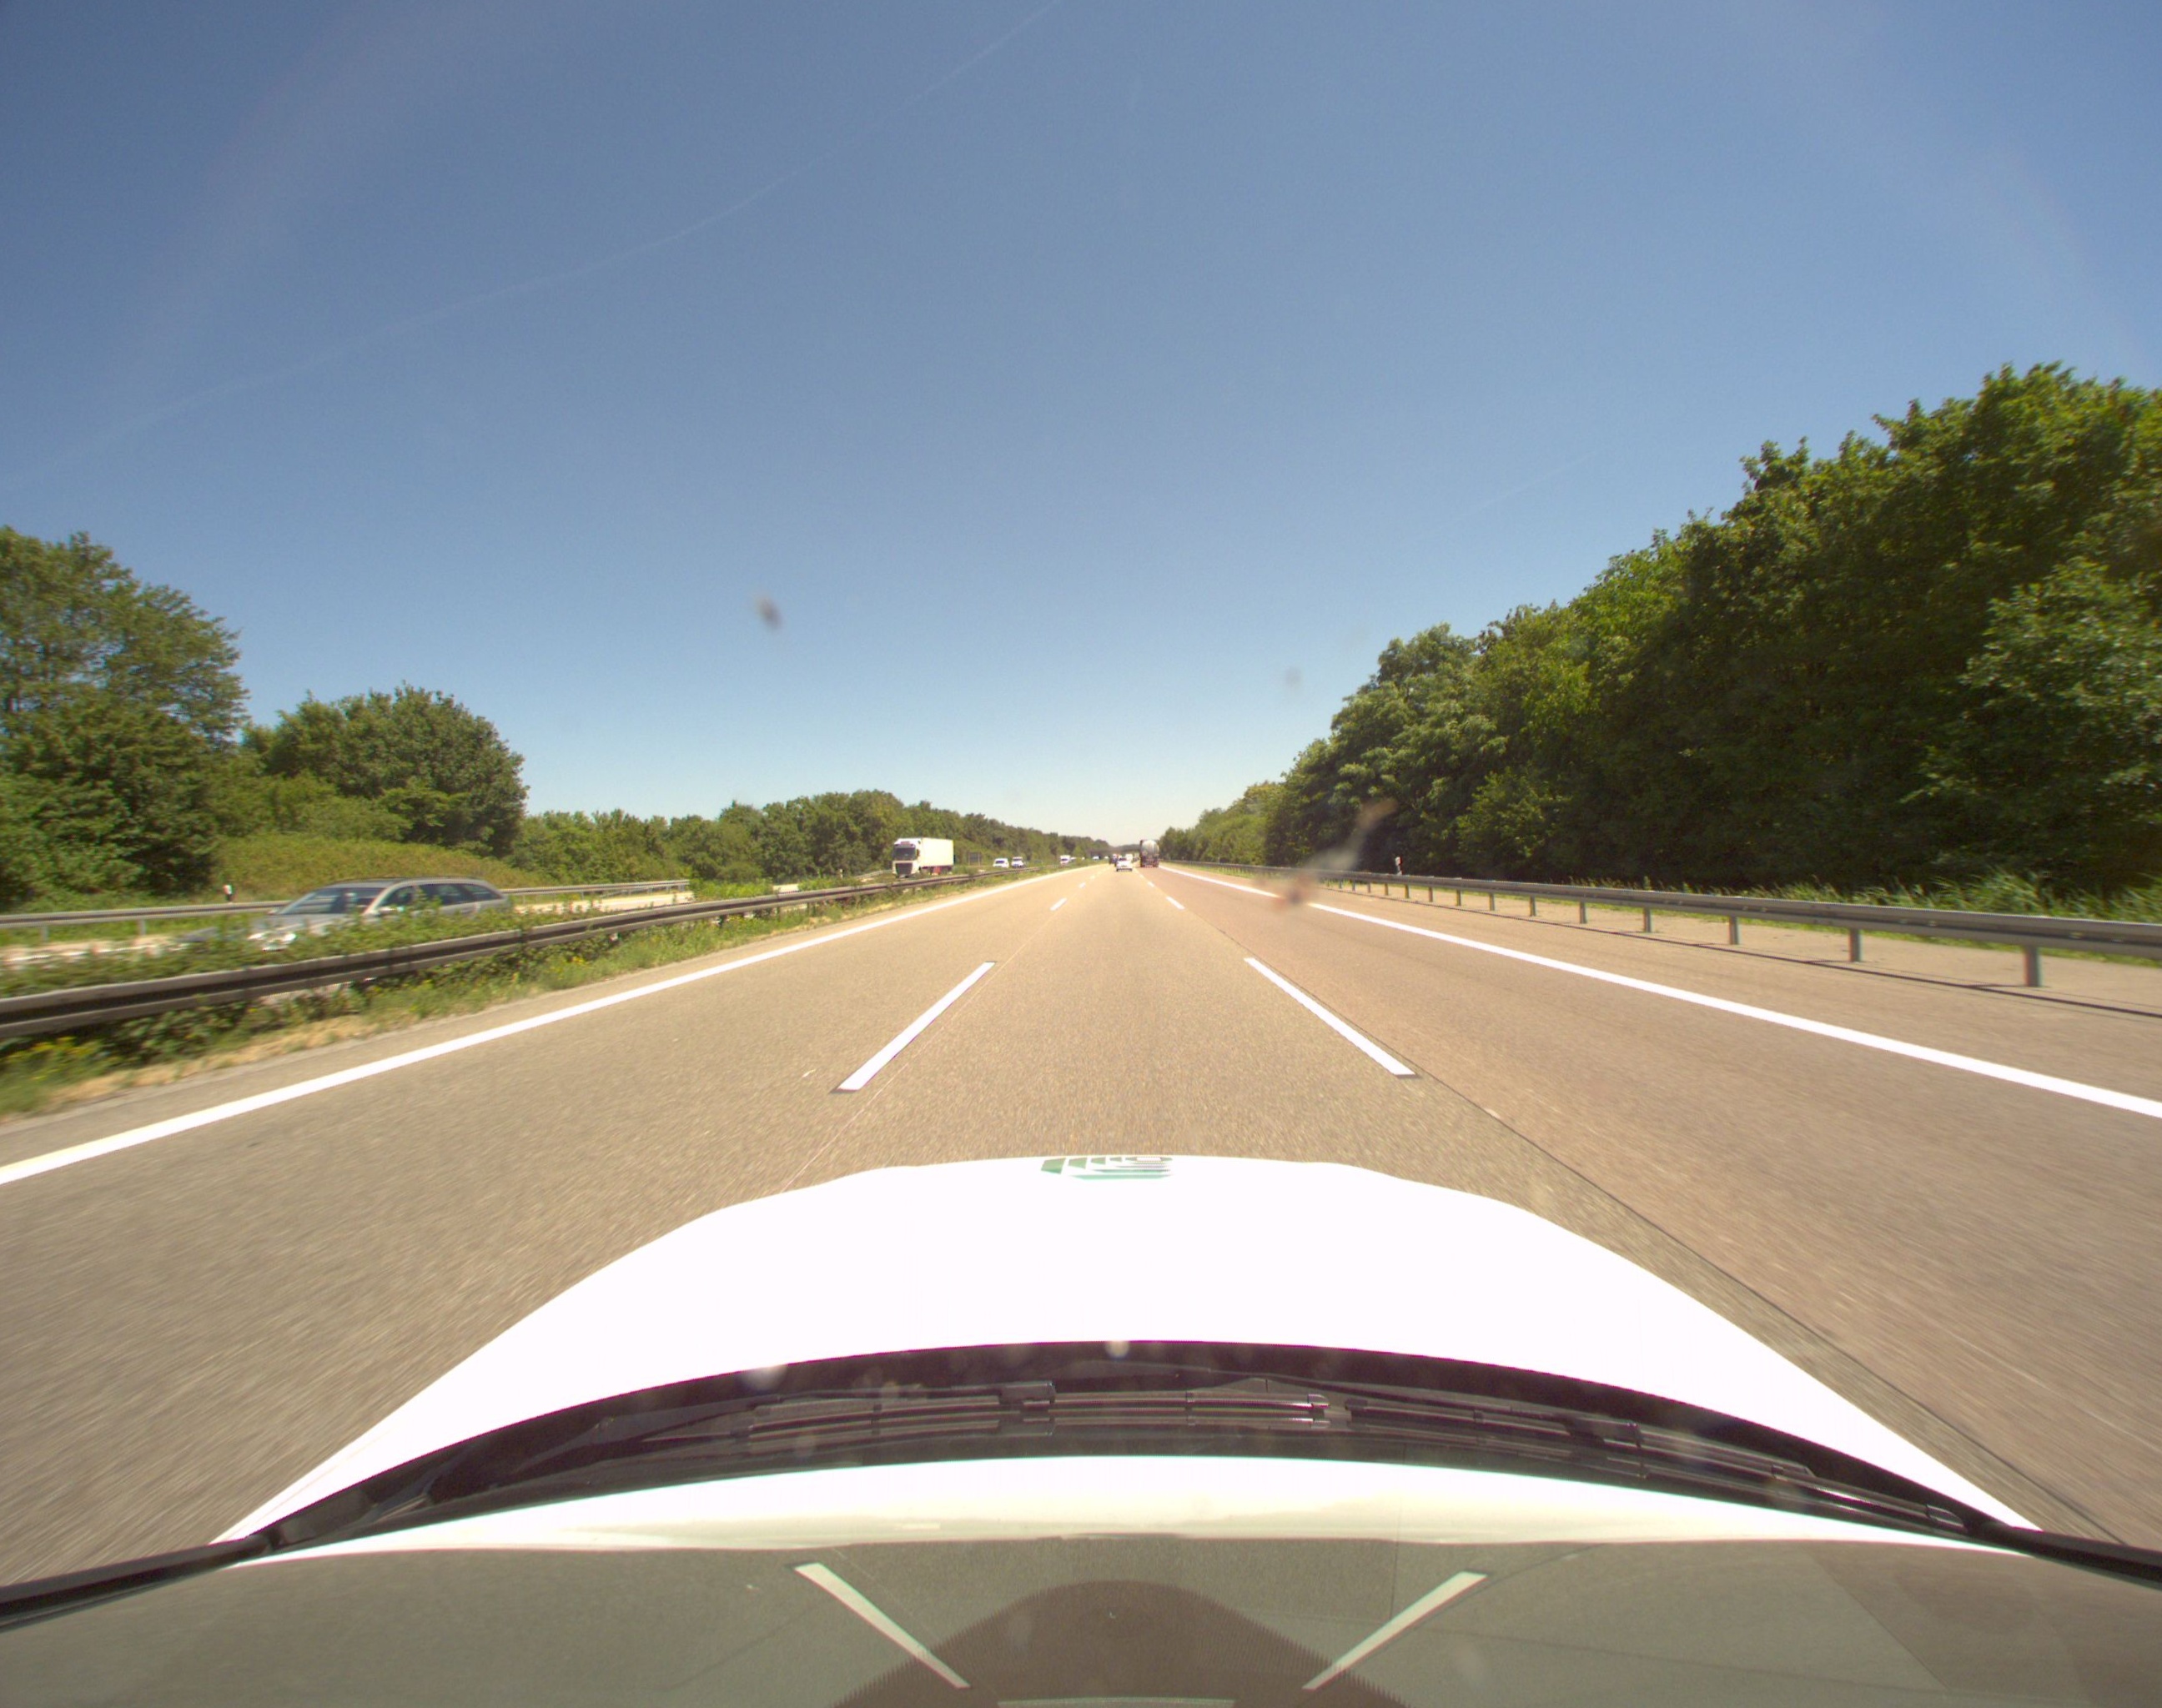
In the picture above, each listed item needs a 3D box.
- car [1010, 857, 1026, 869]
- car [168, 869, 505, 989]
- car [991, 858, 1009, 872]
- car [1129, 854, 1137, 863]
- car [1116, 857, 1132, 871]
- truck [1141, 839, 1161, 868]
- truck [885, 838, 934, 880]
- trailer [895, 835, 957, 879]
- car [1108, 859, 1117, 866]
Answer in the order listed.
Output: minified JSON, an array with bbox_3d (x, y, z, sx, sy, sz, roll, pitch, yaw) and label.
[{"bbox_3d":[-12.272,1.732,158.655,2.234,2.172,6.547,-1,0,3],"label":"car"},{"bbox_3d":[-11.794,1.088,13.349,1.775,1.571,3.982,-1,0,1],"label":"car"},{"bbox_3d":[-11.343,1.575,114.023,1.808,1.876,4.880,-1,0,2],"label":"car"},{"bbox_3d":[13.923,1.267,216.859,1.984,2.343,4.393,-1,0,5],"label":"car"},{"bbox_3d":[4.616,1.070,87.204,1.621,1.479,4.001,-1,-1,2],"label":"car"},{"bbox_3d":[10.349,-0.097,120.871,2.727,4.052,10.465,-1,-1,4],"label":"truck"},{"bbox_3d":[-17.094,0.528,81.468,3.247,3.951,6.106,-1,-1,3],"label":"truck"},{"bbox_3d":[-16.640,0.367,88.860,3.297,4.362,13.600,-1,0,3],"label":"trailer"},{"bbox_3d":[7.749,2.110,198.686,1.985,1.725,4.791,-1,-1,4],"label":"car"}]
